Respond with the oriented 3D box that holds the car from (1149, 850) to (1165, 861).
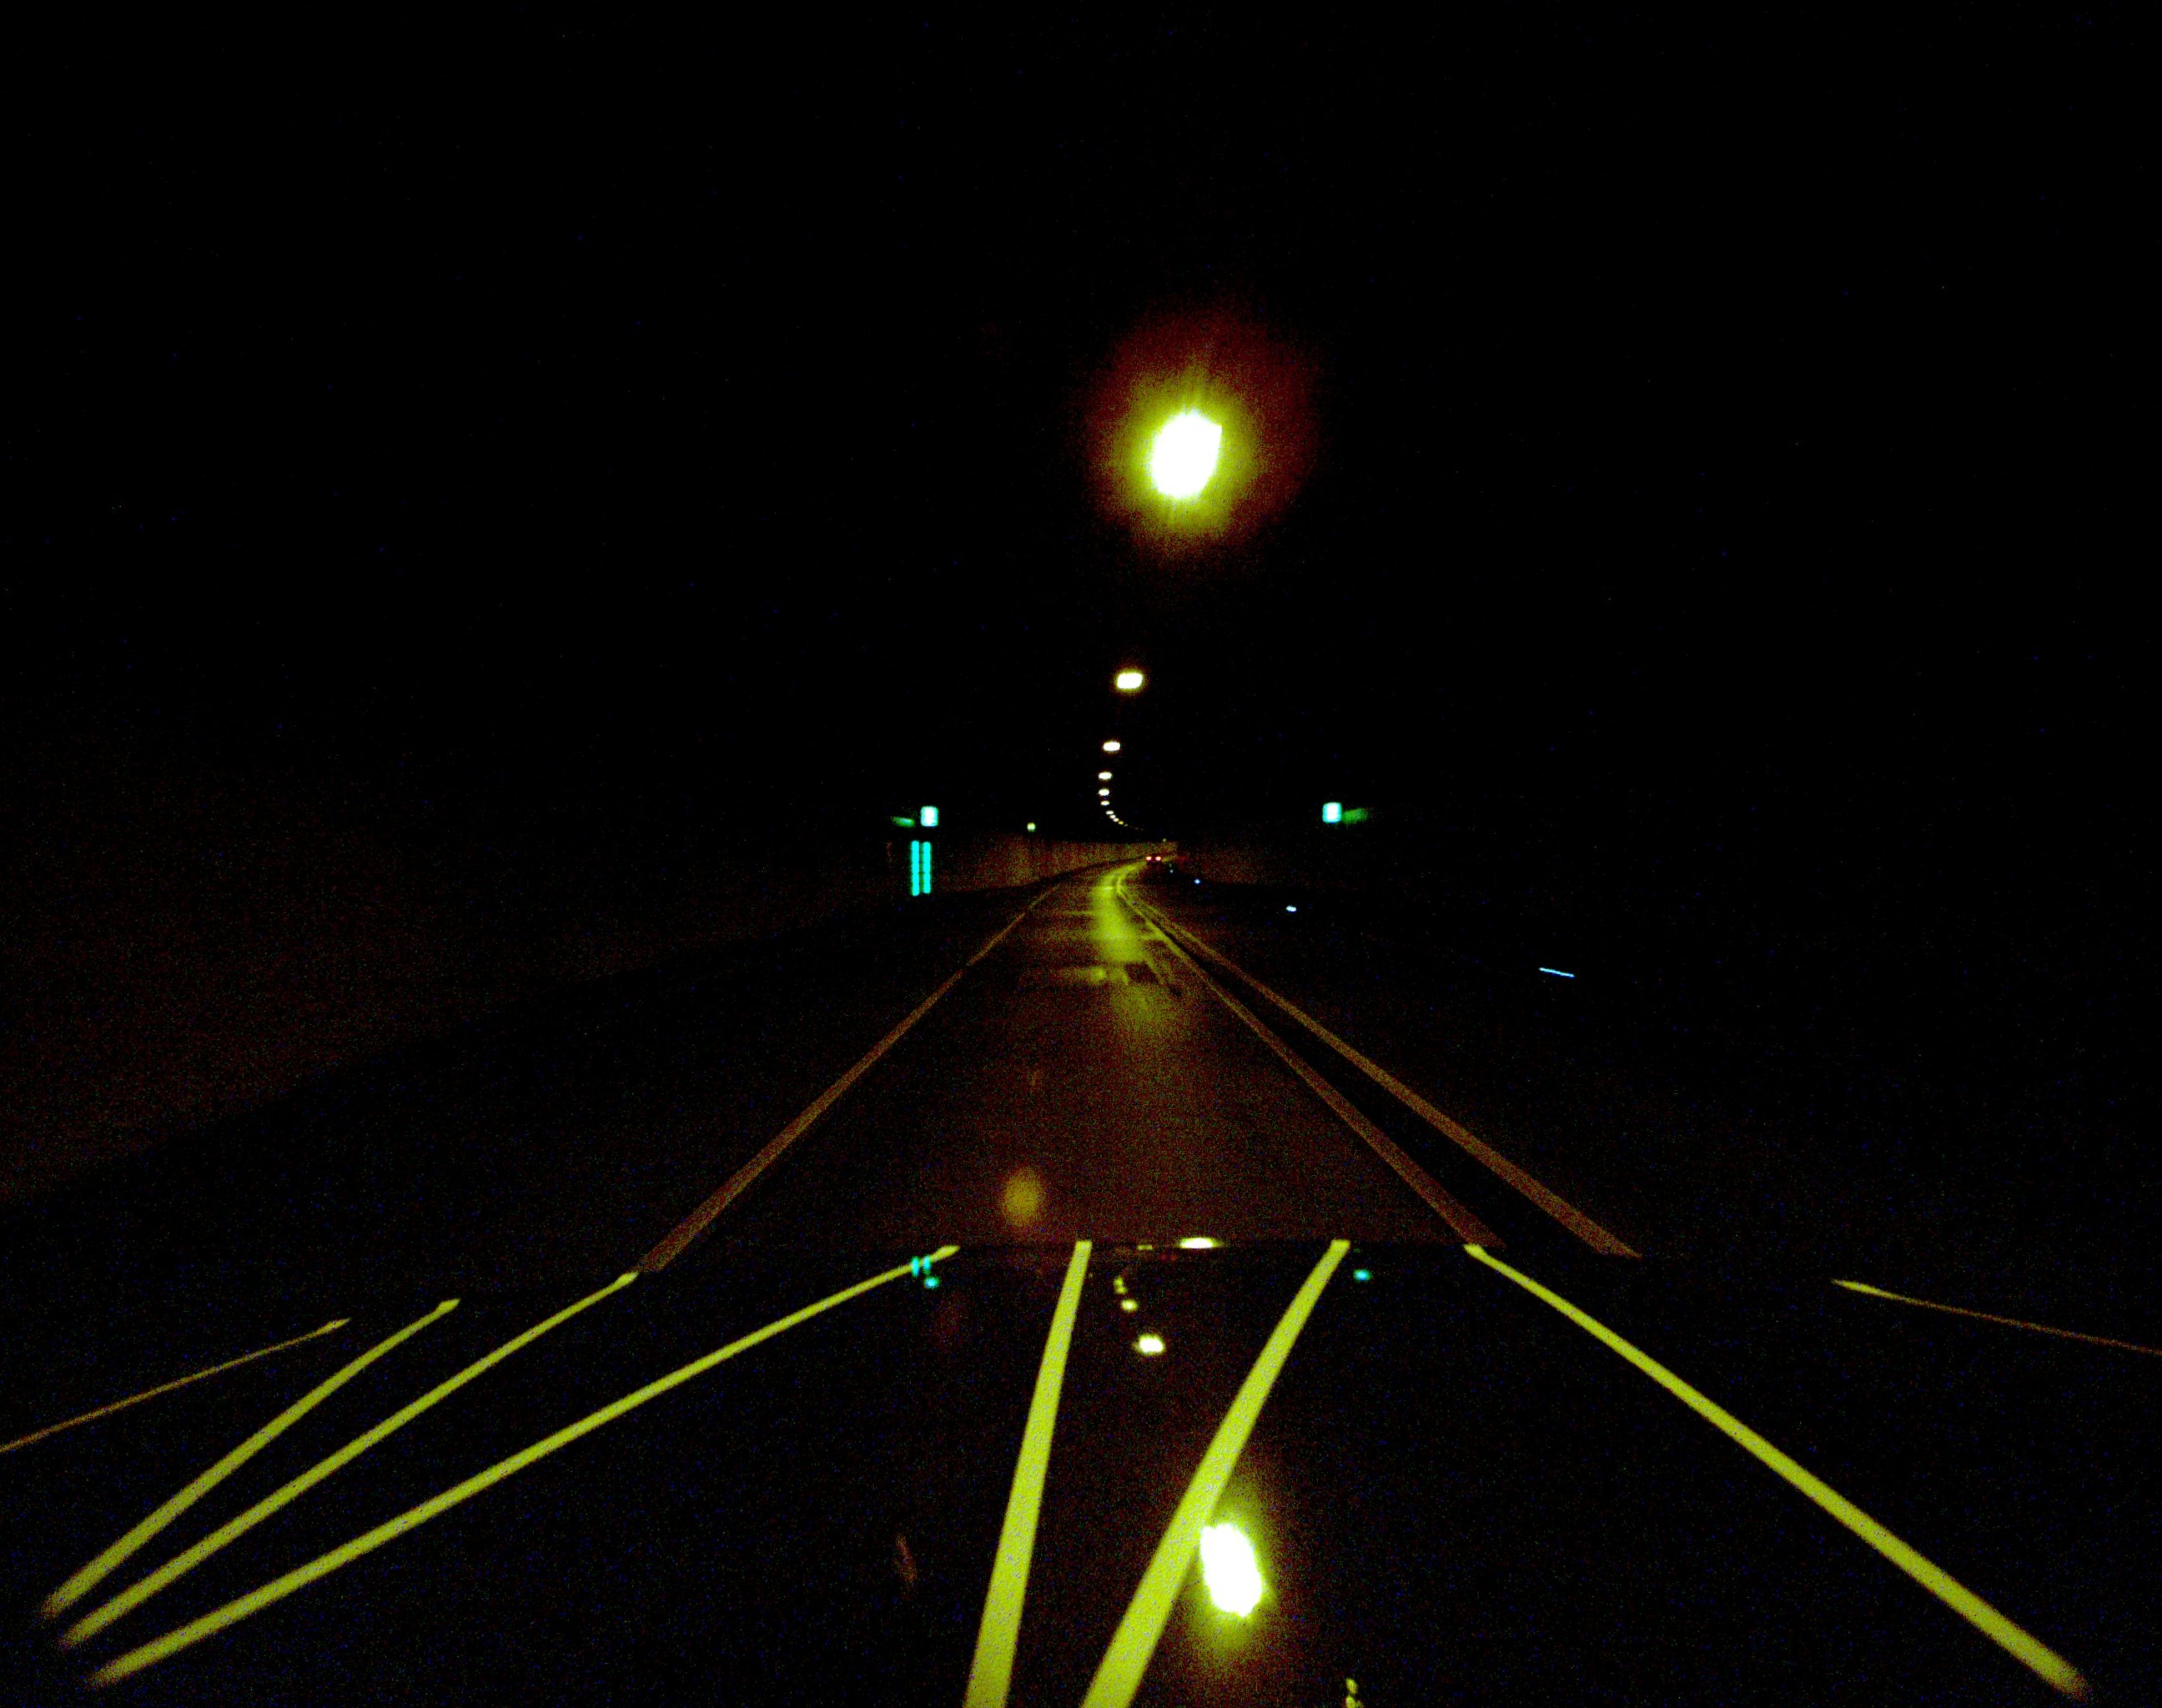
[{"bbox_3d":[9.640,0.151,96.510,1.710,1.407,4.120,0,0,9],"label":"car"}]
